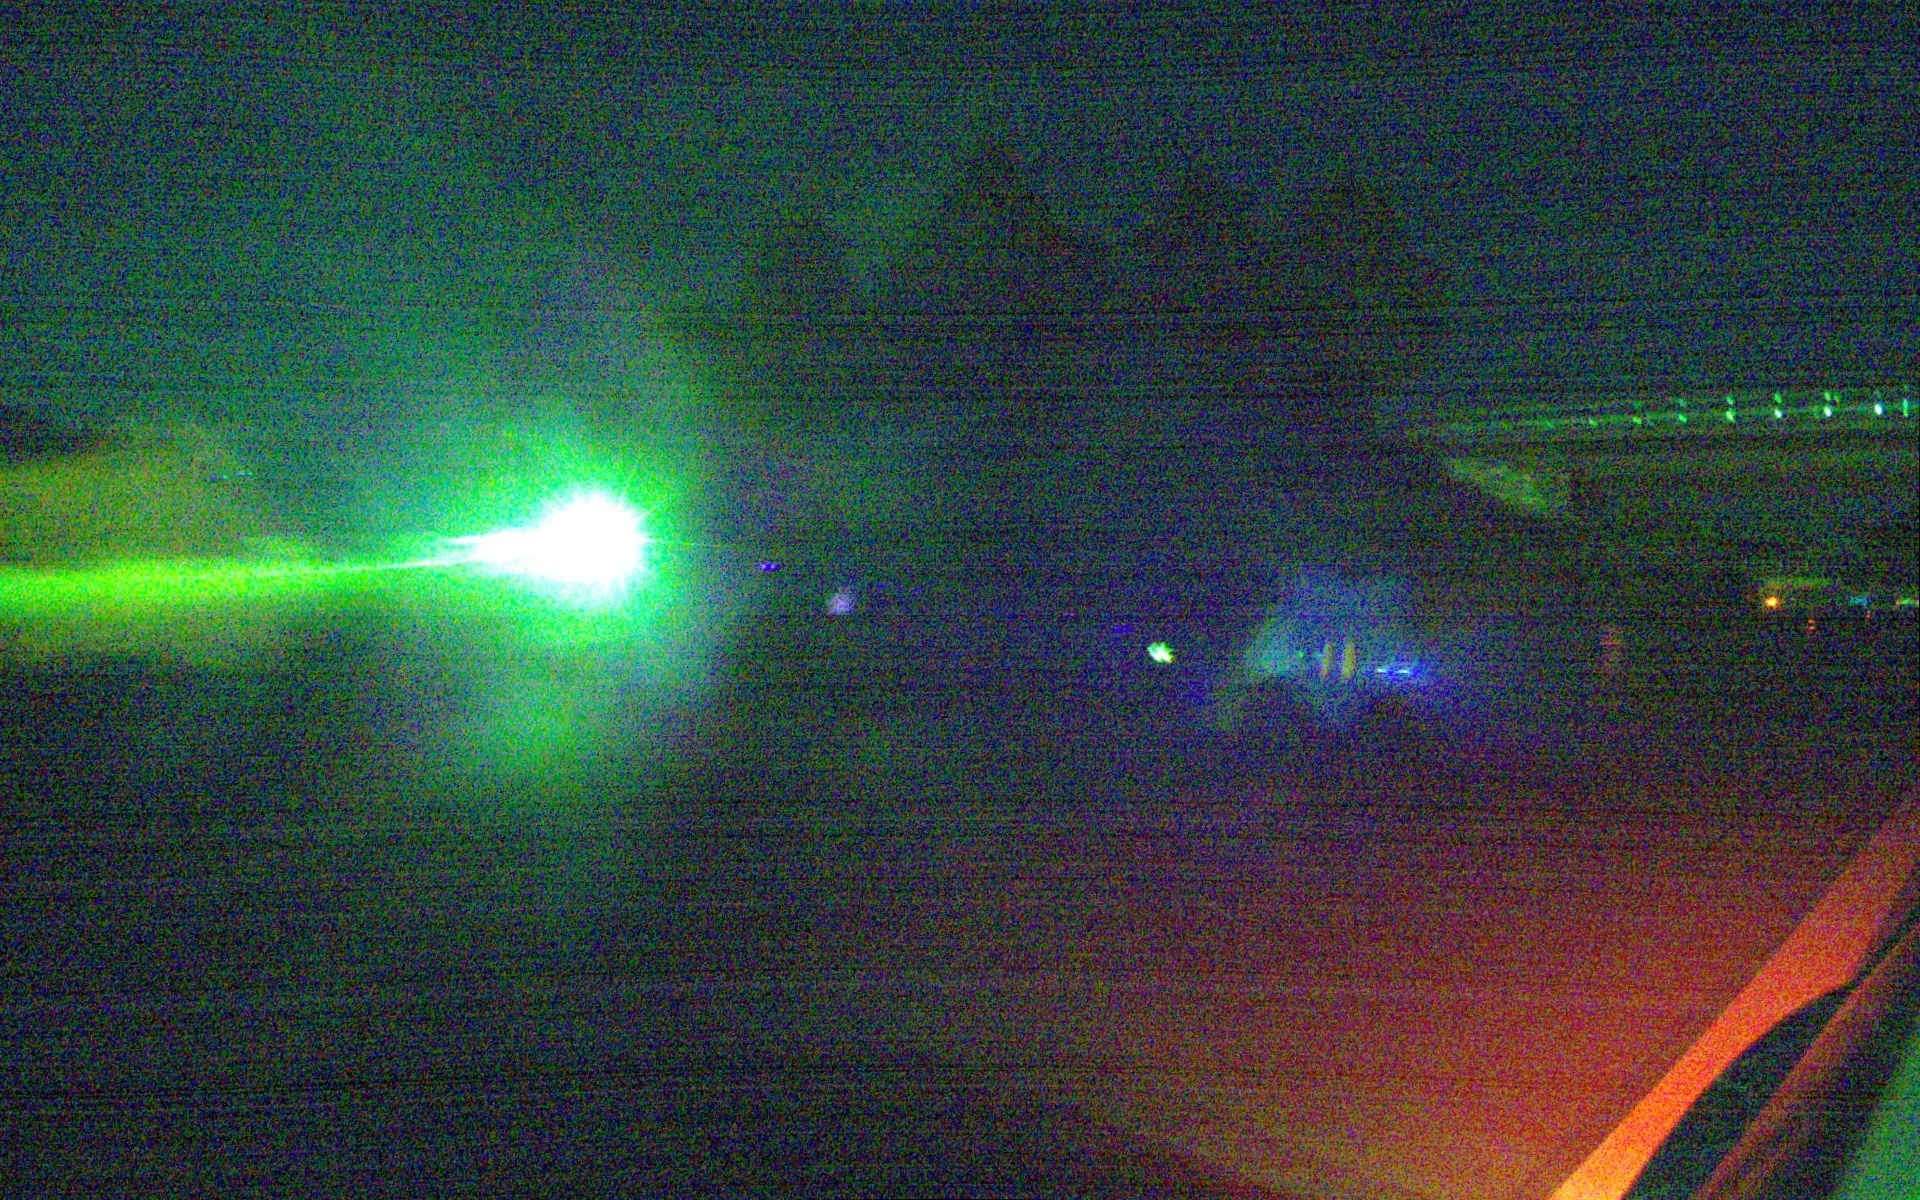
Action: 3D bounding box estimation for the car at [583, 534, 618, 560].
[{"bbox_3d":[-29.153,-4.269,82.188,1.959,1.877,4.006,-1,0,-9],"label":"car"}]
